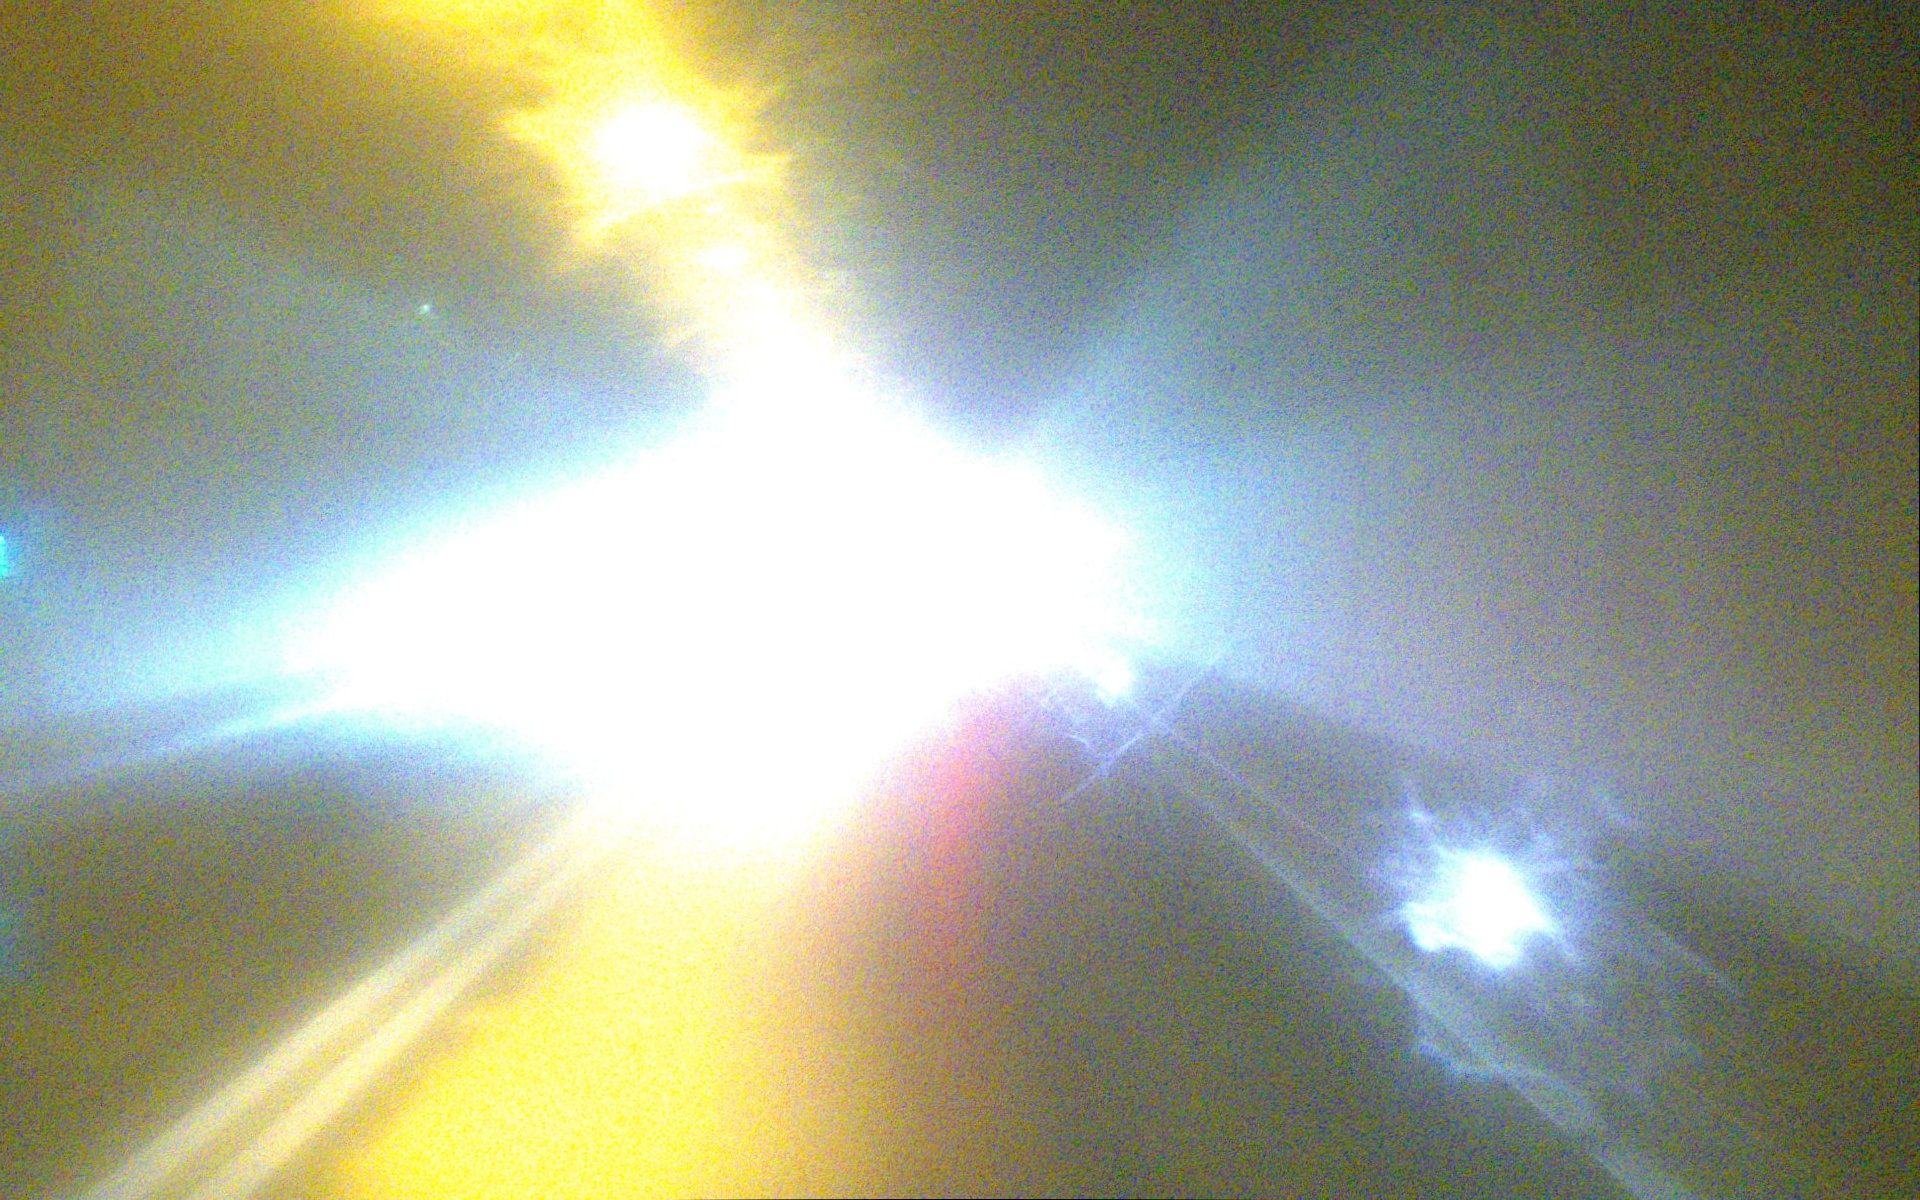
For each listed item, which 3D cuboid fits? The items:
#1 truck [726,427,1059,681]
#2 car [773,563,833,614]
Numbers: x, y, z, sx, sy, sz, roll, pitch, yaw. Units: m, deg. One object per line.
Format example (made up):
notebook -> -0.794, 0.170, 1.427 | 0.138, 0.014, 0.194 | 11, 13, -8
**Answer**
truck -> -0.746, -0.550, 41.051 | 3.535, 2.684, 8.956 | 0, 1, 0
car -> -4.989, -0.374, 109.827 | 1.748, 1.579, 4.000 | 1, 1, -1
